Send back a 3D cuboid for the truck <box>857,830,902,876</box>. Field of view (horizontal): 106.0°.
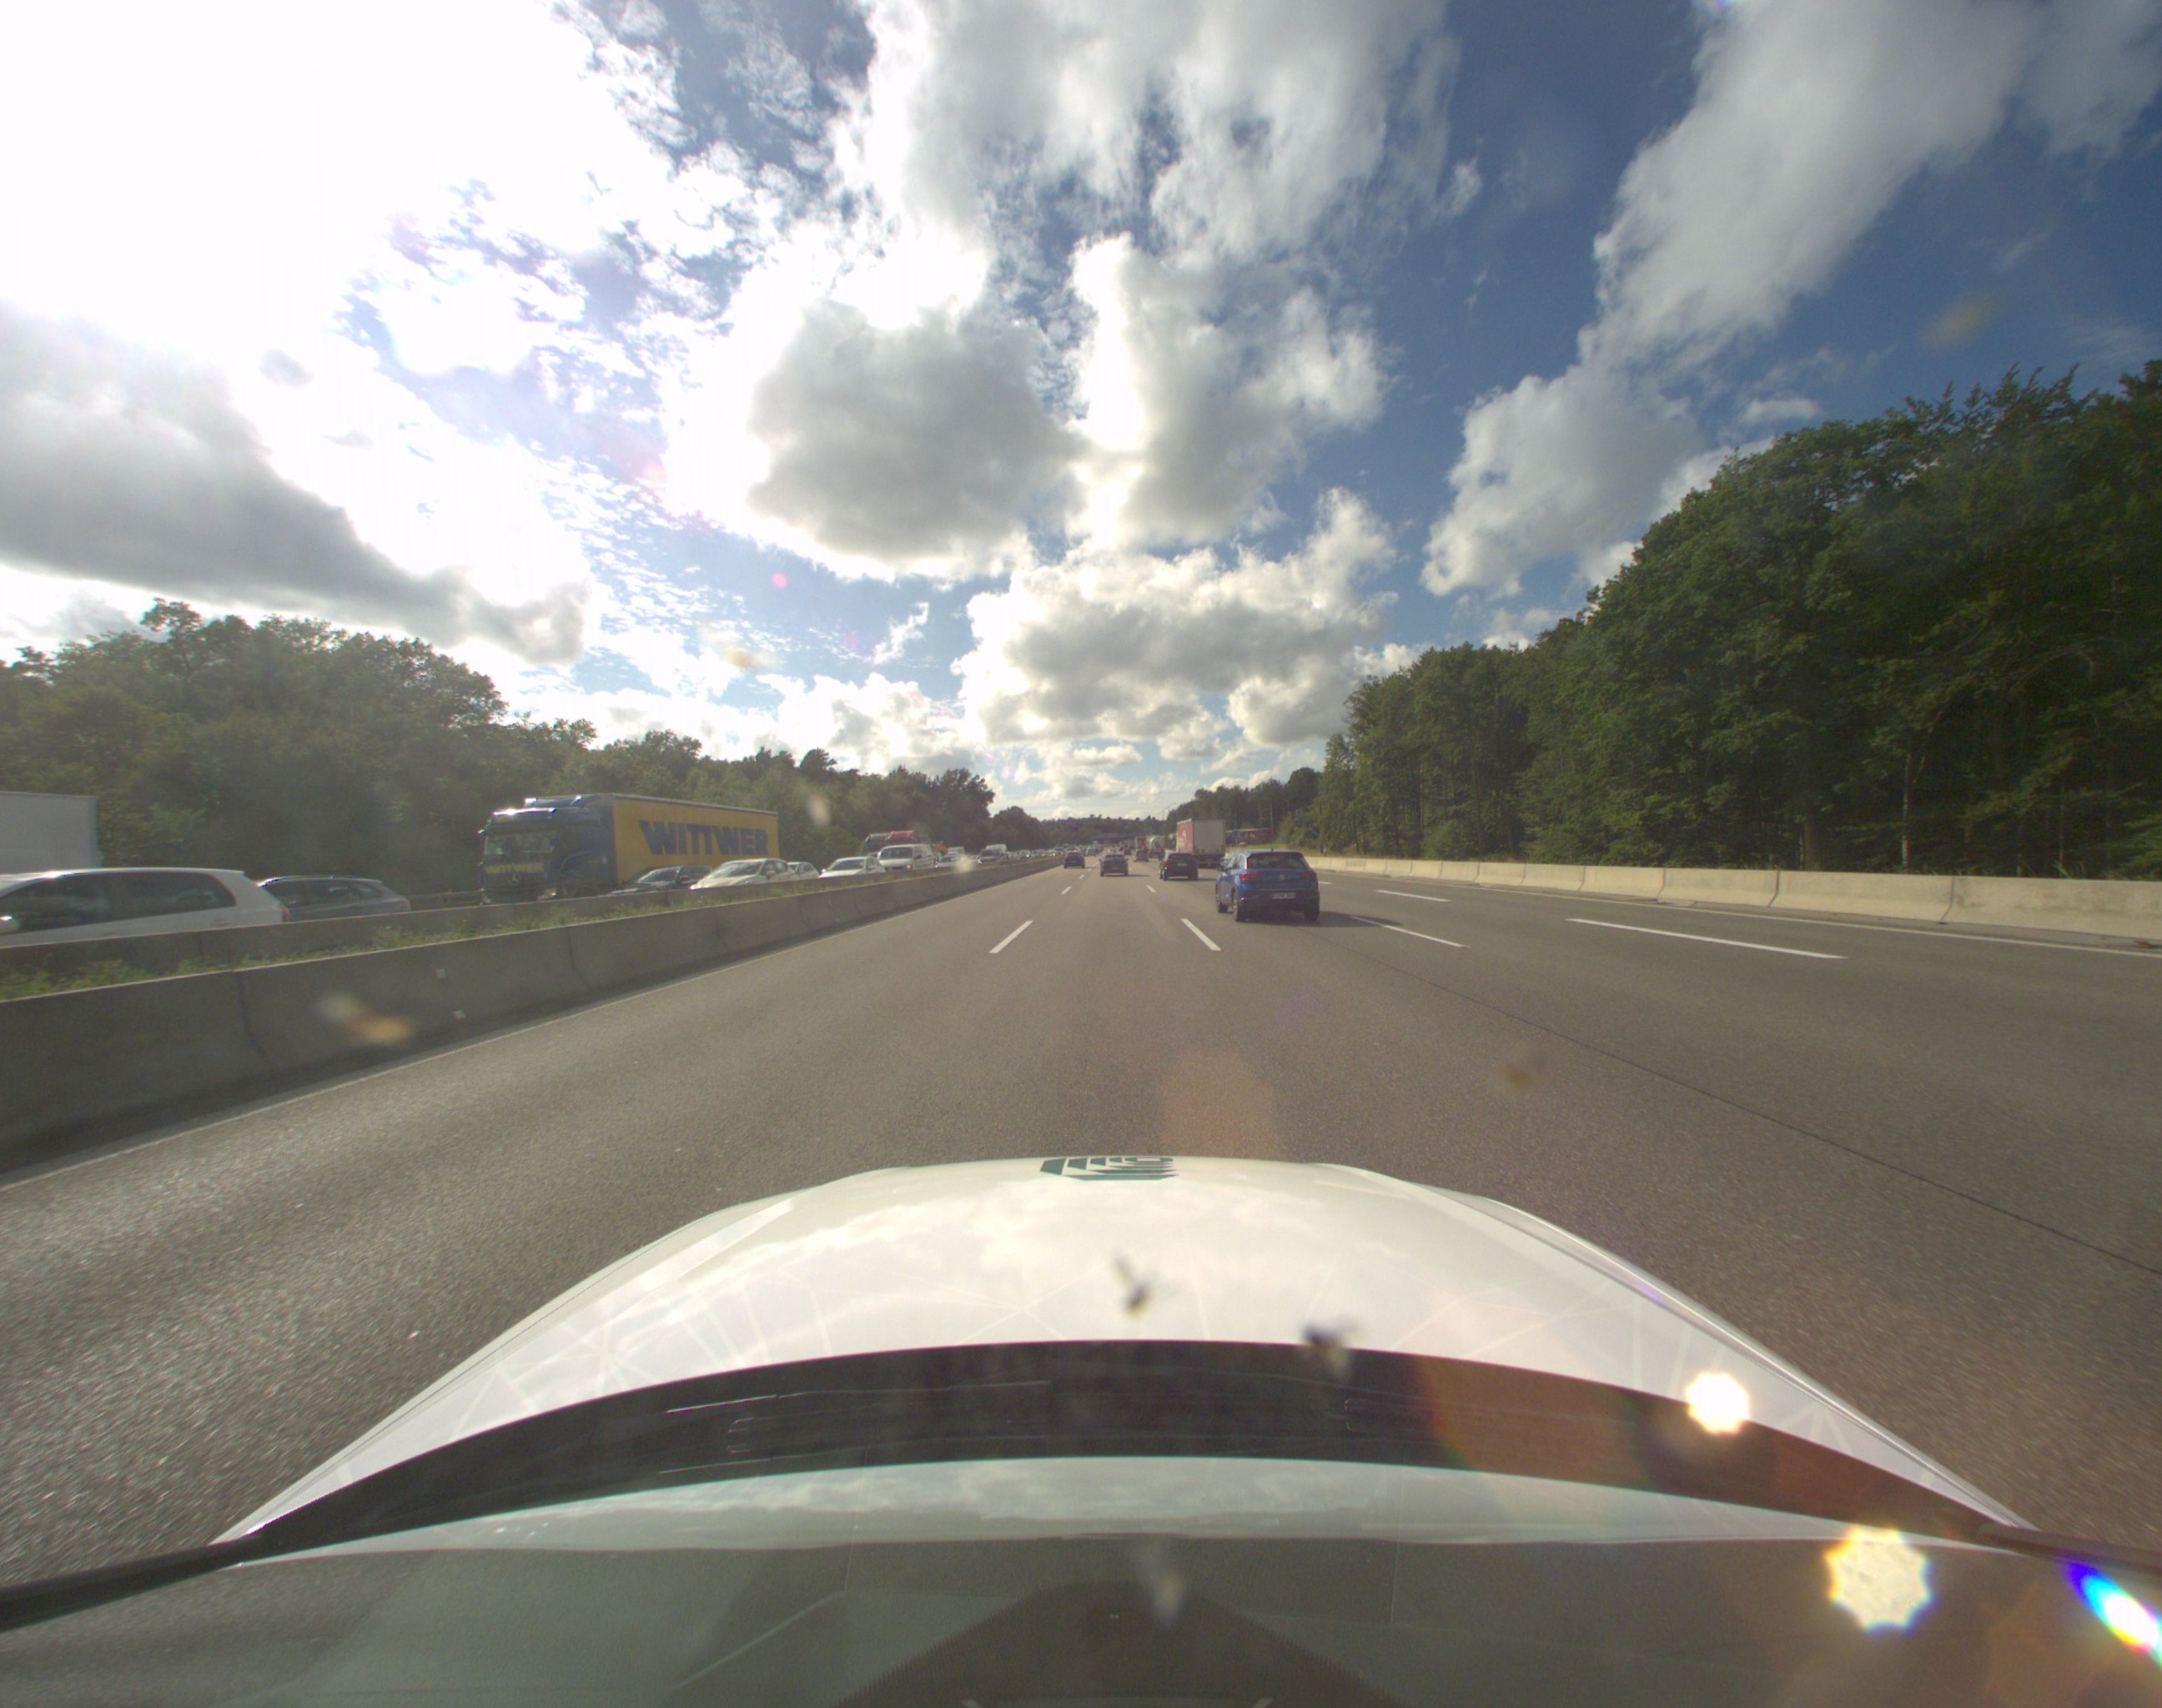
[{"bbox_3d":[-18.945,0.003,76.794,2.801,4.150,5.453,0,-2,1],"label":"truck"}]

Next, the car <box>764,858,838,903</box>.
[{"bbox_3d":[-12.154,1.131,35.635,1.681,1.816,4.296,-1,-1,1],"label":"car"}]

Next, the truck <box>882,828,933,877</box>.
[{"bbox_3d":[-14.850,-0.139,70.108,2.766,3.938,6.854,-1,0,1],"label":"truck"}]

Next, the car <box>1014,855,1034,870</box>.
[{"bbox_3d":[-6.389,0.970,92.123,1.829,1.591,4.290,0,0,1],"label":"car"}]

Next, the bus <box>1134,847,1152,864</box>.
[{"bbox_3d":[7.773,0.182,102.379,1.986,2.014,4.002,-1,-1,2],"label":"bus"}]

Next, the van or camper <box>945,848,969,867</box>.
[{"bbox_3d":[-20.478,0.560,134.853,2.563,3.077,7.197,-1,0,1],"label":"van or camper"}]

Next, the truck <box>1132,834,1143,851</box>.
[{"bbox_3d":[13.700,-2.719,198.099,2.348,3.572,11.275,-1,-1,3],"label":"truck"}]

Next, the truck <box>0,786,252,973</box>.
[{"bbox_3d":[-17.353,0.381,11.806,2.319,2.801,7.952,0,0,2],"label":"truck"}]

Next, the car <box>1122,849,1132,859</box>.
[{"bbox_3d":[9.641,-0.034,170.400,1.986,2.014,4.002,0,0,2],"label":"car"}]

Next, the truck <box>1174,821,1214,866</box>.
[{"bbox_3d":[10.495,-0.889,76.415,3.068,4.063,6.072,-1,-1,2],"label":"truck"}]

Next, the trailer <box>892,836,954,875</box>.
[{"bbox_3d":[-14.696,0.081,77.152,2.718,3.335,14.223,-1,1,1],"label":"trailer"}]

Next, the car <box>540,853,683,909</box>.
[{"bbox_3d":[-13.010,0.732,22.870,1.727,1.401,3.837,-1,-1,1],"label":"car"}]

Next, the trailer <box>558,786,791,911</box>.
[{"bbox_3d":[-16.257,-0.070,34.551,2.761,4.235,13.662,-1,-1,1],"label":"trailer"}]

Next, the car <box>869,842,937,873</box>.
[{"bbox_3d":[-8.222,0.204,38.197,1.843,1.354,5.489,-1,-1,1],"label":"car"}]

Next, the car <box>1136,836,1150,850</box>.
[{"bbox_3d":[13.756,-2.454,180.971,2.854,2.991,5.153,-1,-1,3],"label":"car"}]

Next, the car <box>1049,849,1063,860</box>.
[{"bbox_3d":[-4.230,0.101,137.217,1.986,1.735,5.093,0,0,2],"label":"car"}]

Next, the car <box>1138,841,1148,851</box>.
[{"bbox_3d":[13.032,-1.735,170.717,1.986,2.014,4.001,-1,-1,2],"label":"car"}]

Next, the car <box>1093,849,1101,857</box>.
[{"bbox_3d":[3.826,-0.203,193.910,1.986,2.013,4.002,0,0,2],"label":"car"}]

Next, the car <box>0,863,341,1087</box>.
[{"bbox_3d":[-9.657,0.994,7.312,1.986,1.743,4.297,0,0,2],"label":"car"}]

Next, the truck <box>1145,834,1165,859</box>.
[{"bbox_3d":[12.844,-1.278,142.155,3.034,4.160,7.130,-1,0,2],"label":"truck"}]

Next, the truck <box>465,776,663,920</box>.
[{"bbox_3d":[-16.426,-0.124,26.428,2.726,4.148,5.618,-1,-1,1],"label":"truck"}]

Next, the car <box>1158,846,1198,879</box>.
[{"bbox_3d":[5.041,0.448,42.697,1.792,1.644,4.002,0,0,2],"label":"car"}]

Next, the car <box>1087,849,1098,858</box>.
[{"bbox_3d":[2.297,-0.147,163.708,2.146,1.776,4.002,0,0,2],"label":"car"}]

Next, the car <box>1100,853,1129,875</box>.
[{"bbox_3d":[2.062,0.635,51.474,1.728,1.365,4.000,0,-1,1],"label":"car"}]

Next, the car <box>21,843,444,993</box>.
[{"bbox_3d":[-13.368,0.918,13.417,1.986,2.014,4.657,-1,-1,1],"label":"car"}]

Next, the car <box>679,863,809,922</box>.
[{"bbox_3d":[-8.985,0.973,22.078,1.751,1.377,4.001,1,0,1],"label":"car"}]

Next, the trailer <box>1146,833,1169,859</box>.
[{"bbox_3d":[12.621,-1.284,135.331,3.025,4.016,12.249,-1,-1,2],"label":"trailer"}]

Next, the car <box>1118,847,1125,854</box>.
[{"bbox_3d":[12.613,-1.086,254.268,1.986,2.013,4.002,0,0,2],"label":"car"}]

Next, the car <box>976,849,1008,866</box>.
[{"bbox_3d":[-7.326,0.263,67.556,1.808,1.349,6.234,0,0,1],"label":"car"}]

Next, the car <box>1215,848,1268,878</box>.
[{"bbox_3d":[8.721,0.477,44.554,1.712,1.511,4.295,-2,0,-4],"label":"car"}]

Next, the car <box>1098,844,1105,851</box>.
[{"bbox_3d":[5.949,-1.878,232.585,1.986,2.013,4.002,0,0,2],"label":"car"}]

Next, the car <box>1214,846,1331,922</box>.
[{"bbox_3d":[4.266,0.635,18.880,1.915,1.541,4.650,0,-1,4],"label":"car"}]

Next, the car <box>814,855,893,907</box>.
[{"bbox_3d":[-8.572,1.000,31.043,1.681,1.816,4.296,-1,-1,1],"label":"car"}]

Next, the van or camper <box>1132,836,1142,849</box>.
[{"bbox_3d":[14.110,-2.903,204.627,2.341,3.144,5.715,-1,-1,3],"label":"van or camper"}]

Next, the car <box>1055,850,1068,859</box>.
[{"bbox_3d":[-3.617,0.147,149.175,1.985,1.572,4.820,-1,1,3],"label":"car"}]

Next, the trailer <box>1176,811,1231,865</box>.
[{"bbox_3d":[10.219,-1.136,69.629,3.027,4.035,13.895,-1,-1,2],"label":"trailer"}]

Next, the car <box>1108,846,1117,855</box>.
[{"bbox_3d":[7.237,-0.811,187.884,1.986,2.014,4.001,-2,-1,2],"label":"car"}]

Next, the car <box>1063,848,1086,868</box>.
[{"bbox_3d":[-0.571,0.336,75.763,1.985,1.776,4.003,0,0,2],"label":"car"}]
